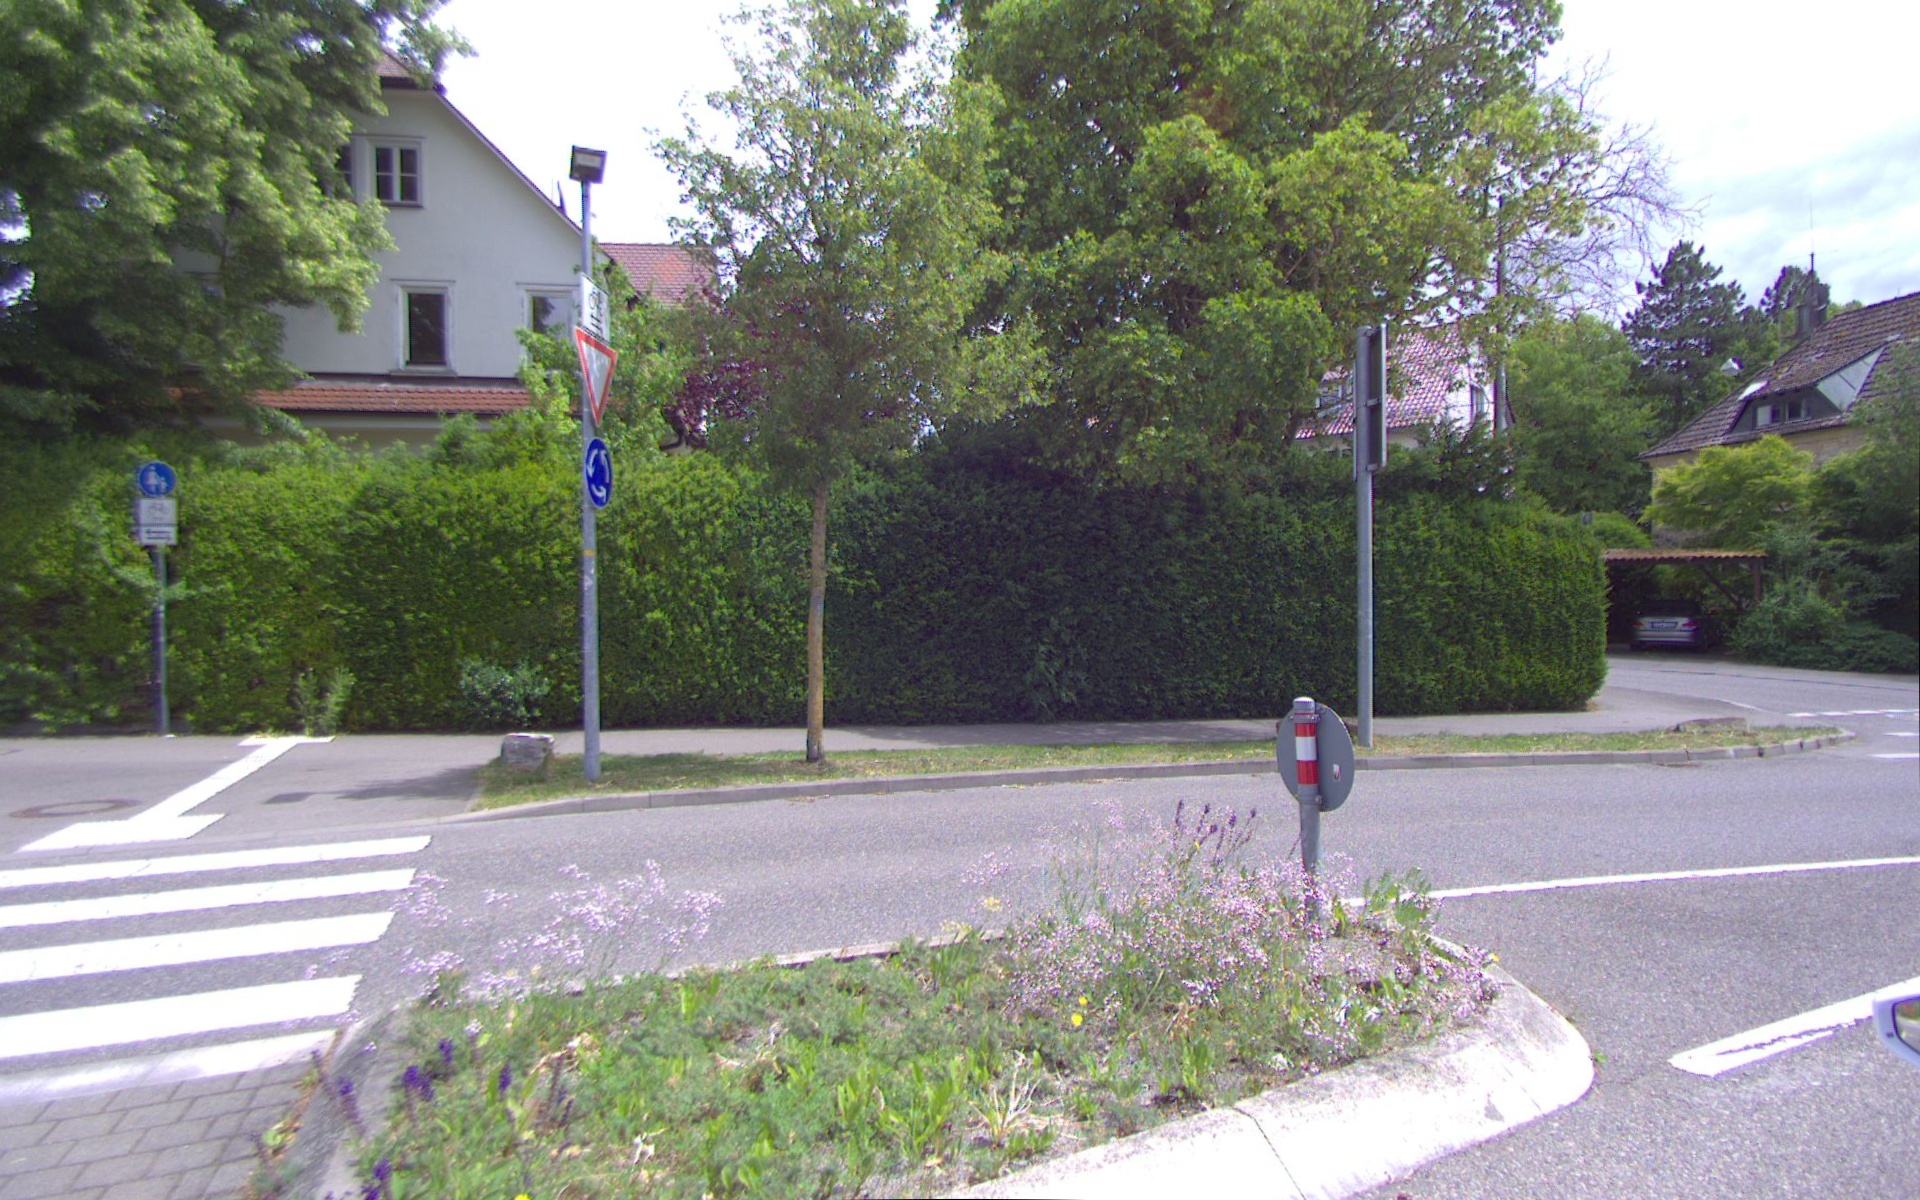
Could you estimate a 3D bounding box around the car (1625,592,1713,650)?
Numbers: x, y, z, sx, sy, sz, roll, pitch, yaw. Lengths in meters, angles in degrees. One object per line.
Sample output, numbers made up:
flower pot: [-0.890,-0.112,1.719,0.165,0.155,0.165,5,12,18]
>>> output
car: [20.170,0.536,28.504,1.702,1.530,3.980,1,1,40]

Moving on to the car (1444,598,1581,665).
car: [14.233,0.774,25.942,1.579,1.576,2.742,0,1,-44]
